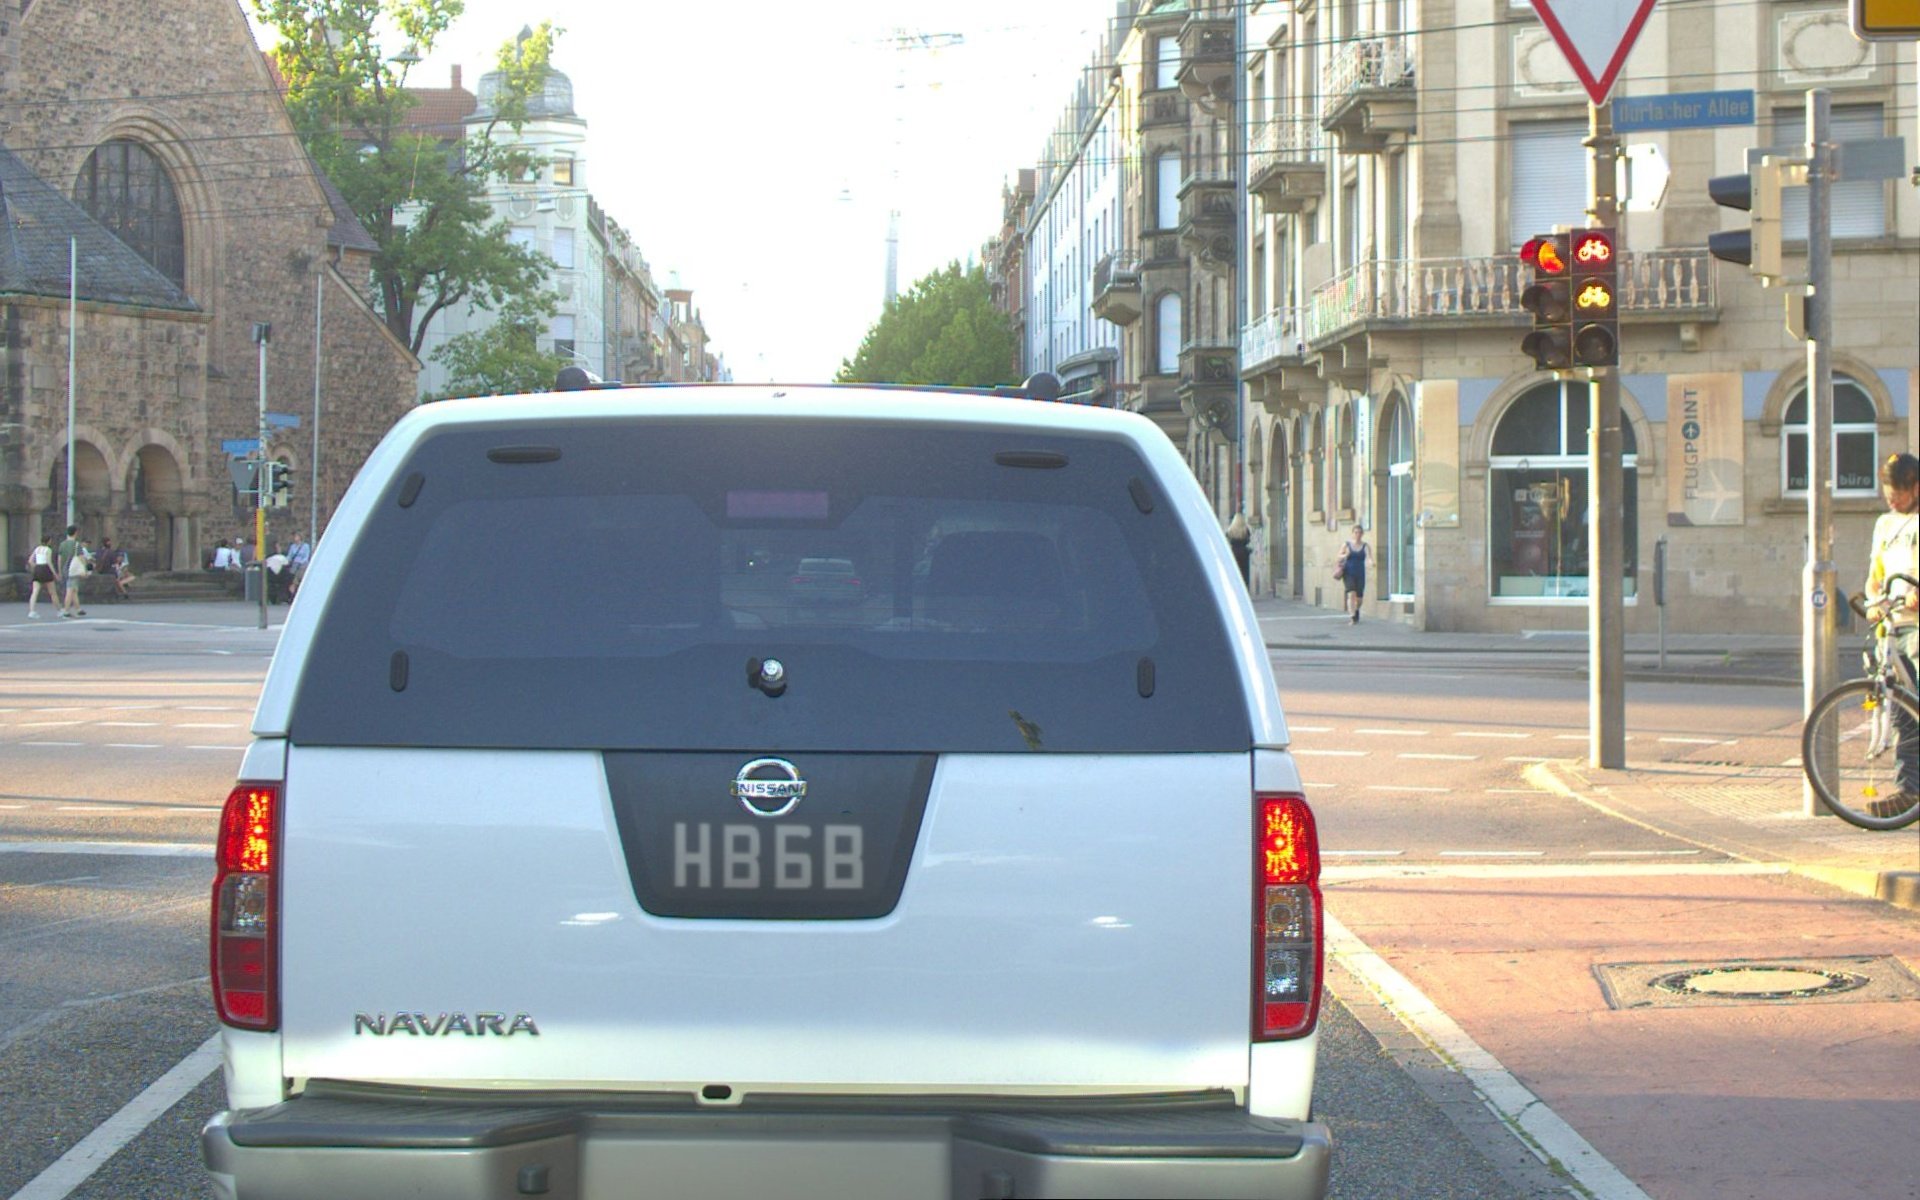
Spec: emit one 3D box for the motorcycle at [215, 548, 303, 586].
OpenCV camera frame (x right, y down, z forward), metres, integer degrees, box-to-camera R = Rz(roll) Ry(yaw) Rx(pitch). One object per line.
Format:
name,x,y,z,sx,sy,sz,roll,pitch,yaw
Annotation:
motorcycle,-18.779,-0.894,92.167,2.243,0.984,0.708,1,0,-6

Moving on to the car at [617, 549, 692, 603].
car,-9.274,-0.731,104.741,1.993,1.552,4.769,1,1,-2

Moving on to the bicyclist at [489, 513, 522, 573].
bicyclist,-12.518,-1.558,94.743,0.599,1.639,0.963,1,0,-26

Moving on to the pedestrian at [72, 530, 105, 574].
pedestrian,-19.118,-1.054,75.439,0.522,0.957,0.479,1,0,19

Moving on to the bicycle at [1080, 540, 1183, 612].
bicycle,3.210,-0.449,64.339,1.817,1.233,0.478,-3,0,-2

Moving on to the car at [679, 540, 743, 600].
car,-8.618,-1.039,119.106,1.993,2.007,4.951,0,0,-2

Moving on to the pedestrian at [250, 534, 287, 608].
pedestrian,-15.861,-0.669,78.908,0.634,1.692,0.602,1,2,14

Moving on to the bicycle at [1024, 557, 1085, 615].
bicycle,1.758,-0.259,64.037,1.076,1.021,0.317,-3,0,-2

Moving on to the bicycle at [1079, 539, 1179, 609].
bicycle,3.224,-0.495,65.669,1.817,1.233,0.410,-3,0,-2

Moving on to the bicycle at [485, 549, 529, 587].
bicycle,-12.483,-0.890,94.678,0.599,1.040,1.946,1,0,-26

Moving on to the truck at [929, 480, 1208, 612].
truck,2.234,-1.066,69.241,5.658,2.556,2.286,0,1,-44

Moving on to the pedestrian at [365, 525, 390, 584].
pedestrian,-16.966,-1.322,100.153,0.642,1.689,0.562,1,0,-1

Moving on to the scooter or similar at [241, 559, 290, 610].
scooter or similar,-15.689,-0.355,77.673,0.634,1.099,1.078,2,3,16

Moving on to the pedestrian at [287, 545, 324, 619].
pedestrian,-14.971,-0.414,78.662,0.634,1.692,0.602,1,0,10

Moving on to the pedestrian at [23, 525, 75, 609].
pedestrian,-18.174,-0.659,68.570,0.812,1.664,0.860,1,0,-2

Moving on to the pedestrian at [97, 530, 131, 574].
pedestrian,-18.492,-1.042,75.164,0.522,0.957,0.479,1,0,19

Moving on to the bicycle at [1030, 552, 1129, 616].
bicycle,2.192,-0.289,63.153,1.726,1.080,0.317,-3,0,-2

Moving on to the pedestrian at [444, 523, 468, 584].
pedestrian,-15.585,-1.435,106.295,0.642,1.849,0.562,1,0,-15

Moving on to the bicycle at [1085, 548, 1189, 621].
bicycle,3.265,-0.291,63.629,1.817,1.233,0.488,-3,0,-2

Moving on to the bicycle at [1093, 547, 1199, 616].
bicycle,3.395,-0.335,62.688,1.817,1.146,0.636,-3,1,-2

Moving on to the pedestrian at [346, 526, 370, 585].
pedestrian,-17.183,-1.266,98.122,0.642,1.689,0.562,1,0,-9

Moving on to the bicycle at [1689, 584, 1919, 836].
bicycle,4.381,0.494,16.012,2.065,1.106,0.628,1,0,-33

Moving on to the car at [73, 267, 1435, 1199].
car,-0.330,0.409,7.100,1.993,1.803,4.000,1,0,-1

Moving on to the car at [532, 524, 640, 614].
car,-8.092,-0.698,74.792,1.993,1.778,4.798,-1,2,-2

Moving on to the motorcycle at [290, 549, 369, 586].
motorcycle,-17.707,-0.916,96.483,2.167,0.984,0.593,1,0,19

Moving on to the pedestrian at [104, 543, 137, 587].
pedestrian,-18.635,-0.780,76.337,0.478,0.957,0.522,1,0,29

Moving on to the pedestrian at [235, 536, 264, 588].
pedestrian,-17.080,-0.904,82.608,0.478,1.241,0.523,1,0,17

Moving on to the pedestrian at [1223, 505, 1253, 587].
pedestrian,5.606,-1.093,69.382,0.527,1.648,0.547,1,0,-1

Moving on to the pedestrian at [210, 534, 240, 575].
pedestrian,-17.287,-1.074,80.873,0.522,0.957,0.479,1,0,17

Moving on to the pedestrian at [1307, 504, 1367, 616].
pedestrian,6.025,-0.644,54.934,0.788,1.773,0.543,1,0,25

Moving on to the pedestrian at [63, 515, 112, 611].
pedestrian,-17.370,-0.741,68.470,0.812,1.894,0.666,1,0,-2

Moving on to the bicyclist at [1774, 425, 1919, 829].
bicyclist,4.270,0.119,15.938,0.696,1.818,0.628,1,0,-33

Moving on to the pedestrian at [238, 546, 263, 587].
pedestrian,-16.684,-0.790,80.872,0.521,0.957,0.479,1,0,-16
